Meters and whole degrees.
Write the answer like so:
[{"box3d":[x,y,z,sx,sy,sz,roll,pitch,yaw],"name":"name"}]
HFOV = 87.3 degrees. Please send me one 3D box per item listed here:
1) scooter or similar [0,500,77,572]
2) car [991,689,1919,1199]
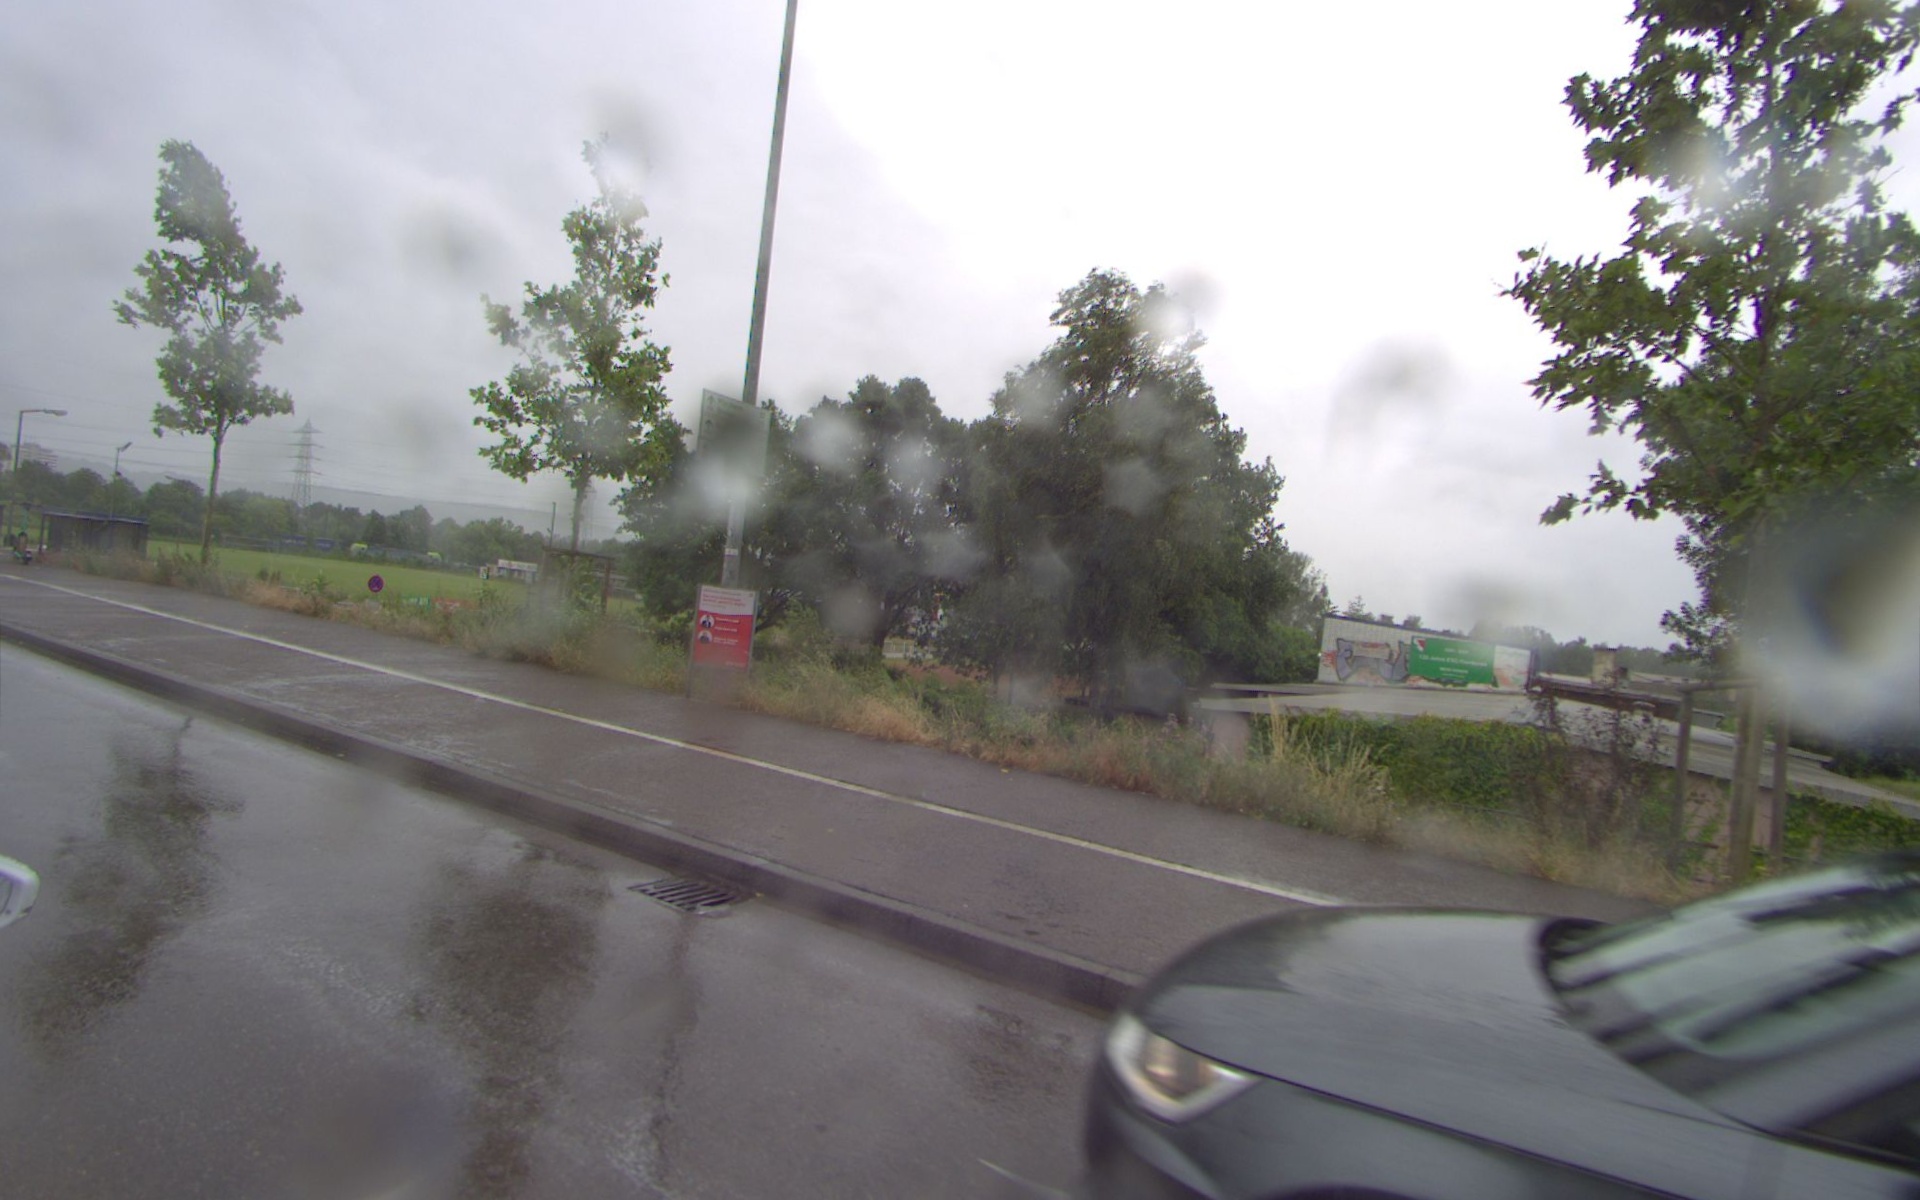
[{"box3d":[-18.912,-1.340,20.382,2.971,1.226,0.691,7,0,33],"name":"scooter or similar"},{"box3d":[2.013,1.100,1.737,3.570,1.383,1.599,7,0,31],"name":"car"}]
